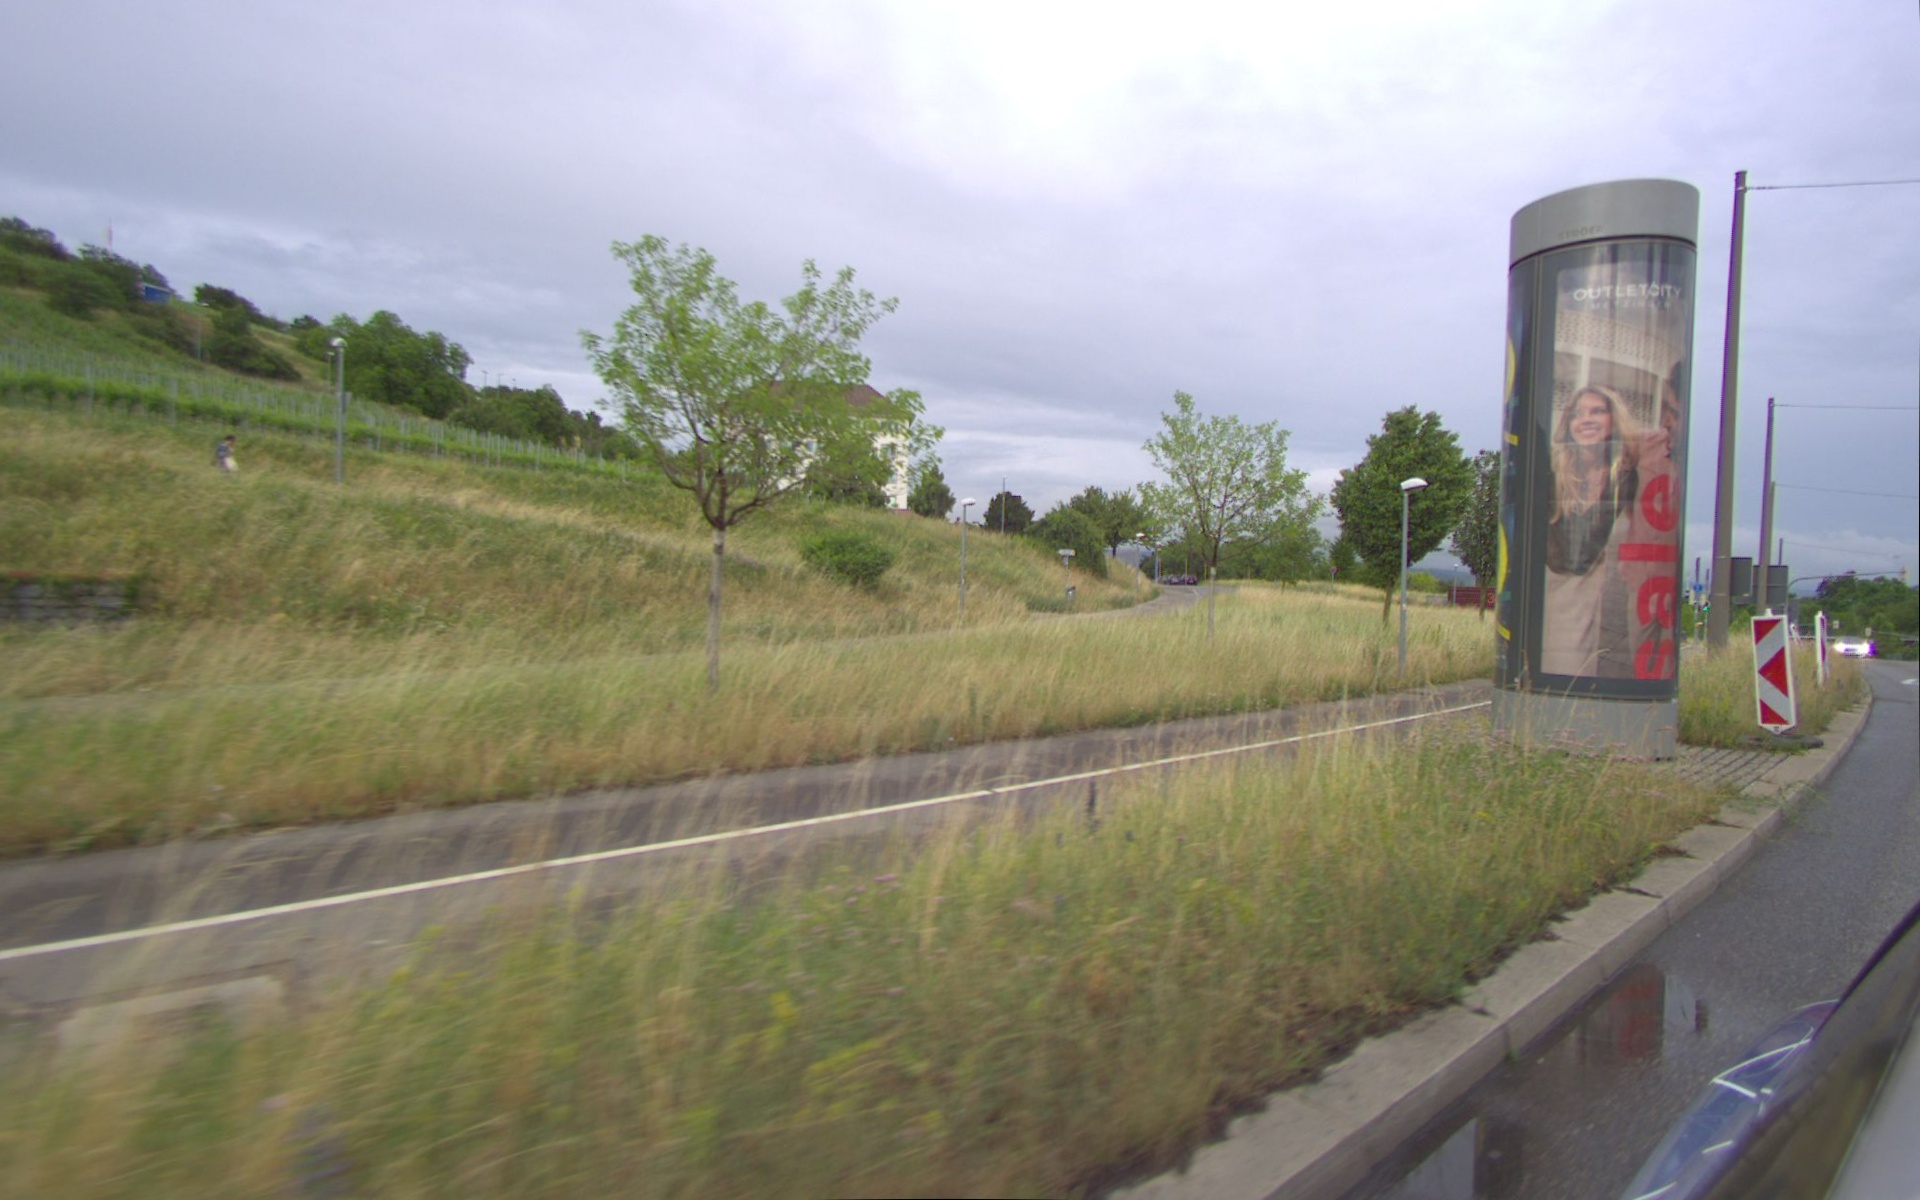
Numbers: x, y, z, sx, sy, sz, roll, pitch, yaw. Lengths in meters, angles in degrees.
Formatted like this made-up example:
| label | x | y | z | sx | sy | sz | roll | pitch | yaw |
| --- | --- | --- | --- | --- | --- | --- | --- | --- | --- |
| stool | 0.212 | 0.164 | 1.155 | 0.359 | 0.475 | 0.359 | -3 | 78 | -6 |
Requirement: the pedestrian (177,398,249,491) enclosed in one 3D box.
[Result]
| label | x | y | z | sx | sy | sz | roll | pitch | yaw |
| --- | --- | --- | --- | --- | --- | --- | --- | --- | --- |
| pedestrian | -17.760 | -3.676 | 24.089 | 0.768 | 2.038 | 1.053 | 4 | 1 | 7 |

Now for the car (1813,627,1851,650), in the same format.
| label | x | y | z | sx | sy | sz | roll | pitch | yaw |
| --- | --- | --- | --- | --- | --- | --- | --- | --- | --- |
| car | 66.999 | 2.982 | 77.702 | 1.993 | 1.663 | 4.554 | 0 | -2 | 44 |

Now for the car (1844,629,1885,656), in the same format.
| label | x | y | z | sx | sy | sz | roll | pitch | yaw |
| --- | --- | --- | --- | --- | --- | --- | --- | --- | --- |
| car | 58.258 | 2.767 | 65.141 | 1.722 | 1.541 | 4.157 | 2 | -2 | 45 |
